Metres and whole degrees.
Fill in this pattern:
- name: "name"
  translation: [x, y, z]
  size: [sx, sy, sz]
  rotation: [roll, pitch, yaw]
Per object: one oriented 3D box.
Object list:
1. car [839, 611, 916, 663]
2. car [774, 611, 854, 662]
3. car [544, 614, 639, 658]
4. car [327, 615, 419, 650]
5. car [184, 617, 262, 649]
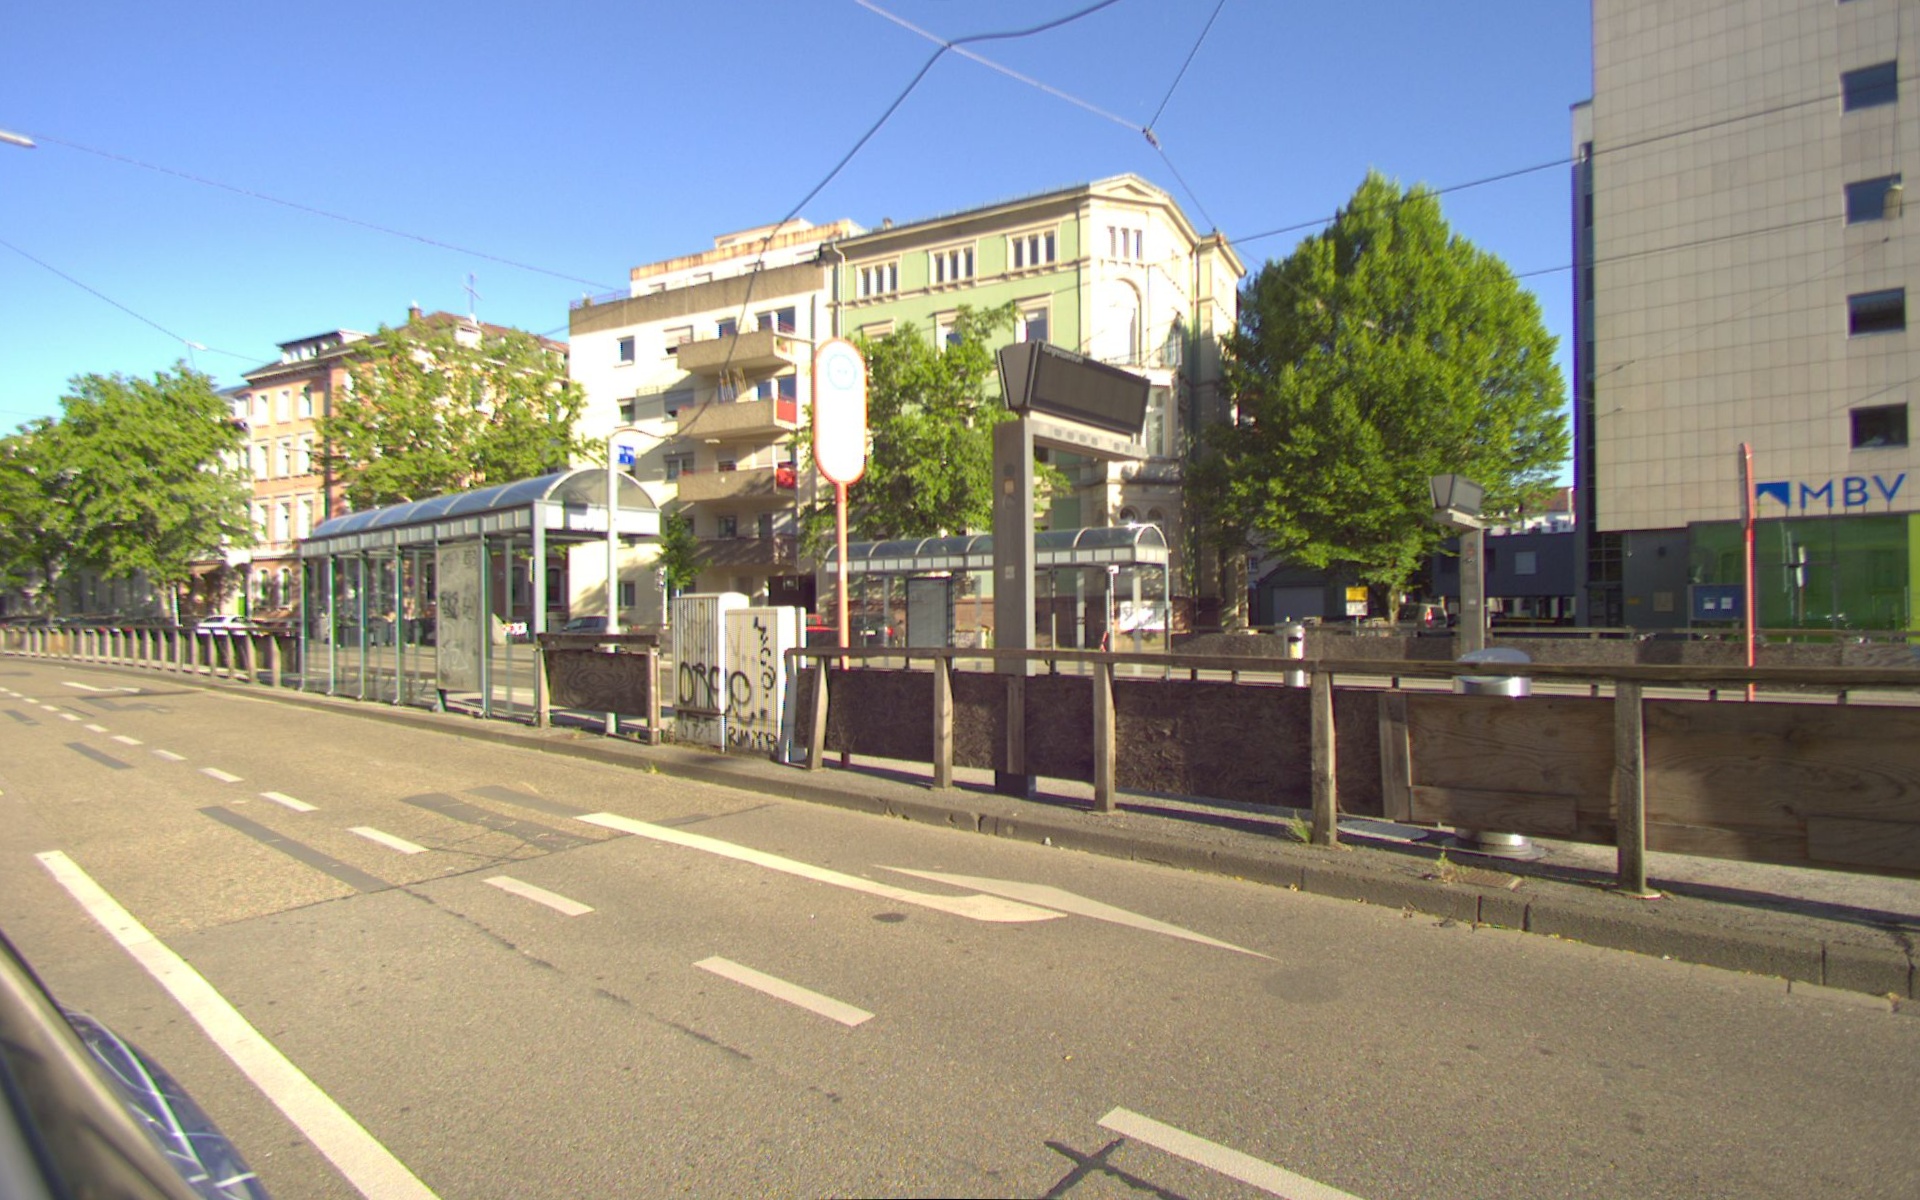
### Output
- name: "car"
  translation: [-2.655, 1.180, 33.369]
  size: [1.614, 1.579, 3.588]
  rotation: [-1, 0, 11]
- name: "car"
  translation: [-4.928, 1.209, 34.565]
  size: [1.614, 1.579, 3.588]
  rotation: [-1, 0, 11]
- name: "car"
  translation: [-14.041, 1.326, 38.518]
  size: [3.592, 1.579, 1.612]
  rotation: [-1, 0, 35]
- name: "car"
  translation: [-28.406, 1.550, 49.054]
  size: [1.626, 1.579, 3.560]
  rotation: [-1, 0, 33]
- name: "car"
  translation: [-39.406, 1.728, 54.212]
  size: [1.607, 1.579, 3.601]
  rotation: [-1, 0, -2]
